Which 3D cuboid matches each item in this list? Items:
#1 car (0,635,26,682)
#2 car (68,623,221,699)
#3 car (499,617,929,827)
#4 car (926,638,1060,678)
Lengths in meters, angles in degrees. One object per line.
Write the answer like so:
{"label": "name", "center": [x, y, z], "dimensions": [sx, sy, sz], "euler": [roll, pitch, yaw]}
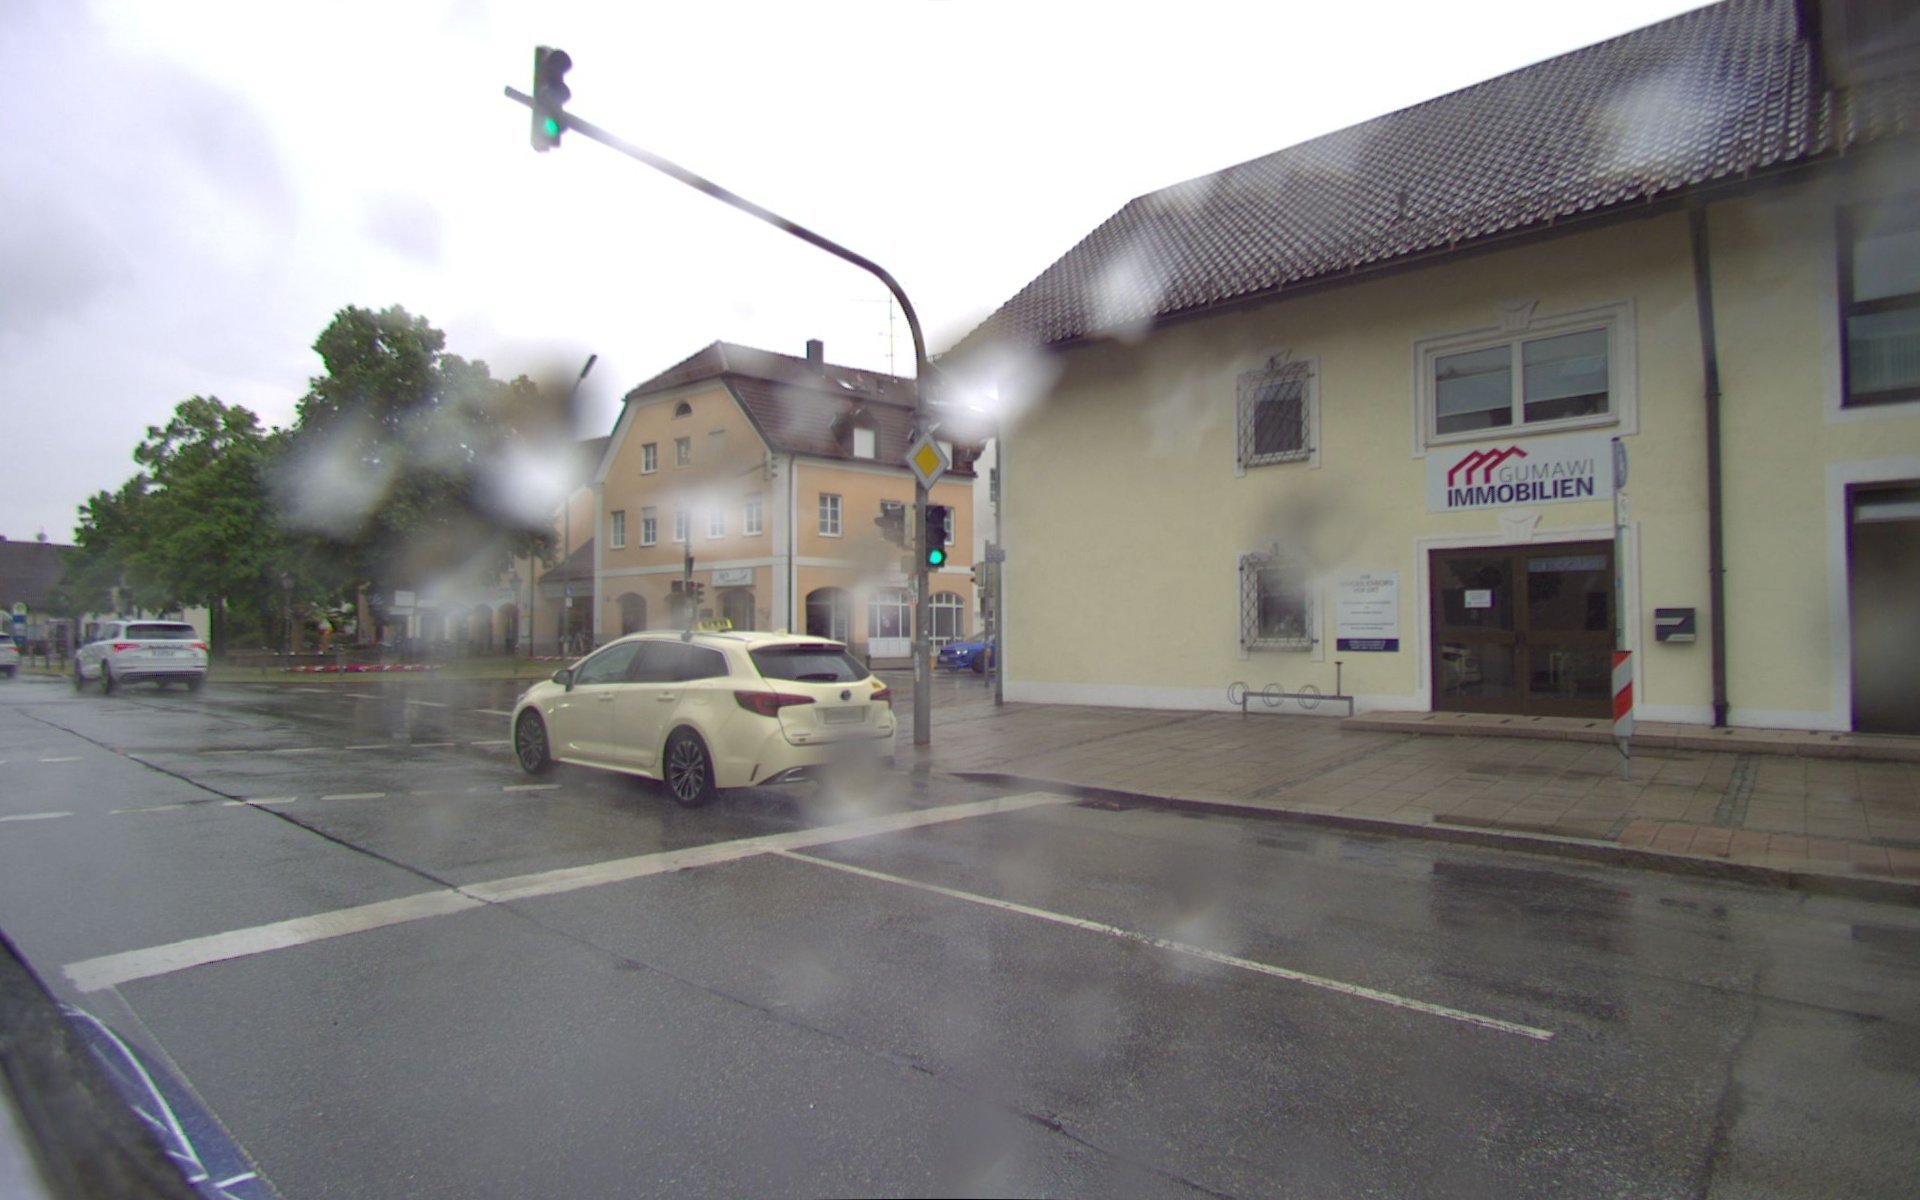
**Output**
{"label": "car", "center": [-34.335, 1.999, 35.241], "dimensions": [4.146, 1.575, 1.948], "euler": [-1, -3, 38]}
{"label": "car", "center": [-18.587, 1.326, 23.005], "dimensions": [4.122, 1.578, 1.907], "euler": [-1, -3, 40]}
{"label": "car", "center": [-2.433, 0.969, 9.431], "dimensions": [4.227, 1.523, 1.734], "euler": [-2, -4, 41]}
{"label": "car", "center": [1.138, 1.890, 33.628], "dimensions": [4.288, 1.194, 1.693], "euler": [1, -2, -35]}
